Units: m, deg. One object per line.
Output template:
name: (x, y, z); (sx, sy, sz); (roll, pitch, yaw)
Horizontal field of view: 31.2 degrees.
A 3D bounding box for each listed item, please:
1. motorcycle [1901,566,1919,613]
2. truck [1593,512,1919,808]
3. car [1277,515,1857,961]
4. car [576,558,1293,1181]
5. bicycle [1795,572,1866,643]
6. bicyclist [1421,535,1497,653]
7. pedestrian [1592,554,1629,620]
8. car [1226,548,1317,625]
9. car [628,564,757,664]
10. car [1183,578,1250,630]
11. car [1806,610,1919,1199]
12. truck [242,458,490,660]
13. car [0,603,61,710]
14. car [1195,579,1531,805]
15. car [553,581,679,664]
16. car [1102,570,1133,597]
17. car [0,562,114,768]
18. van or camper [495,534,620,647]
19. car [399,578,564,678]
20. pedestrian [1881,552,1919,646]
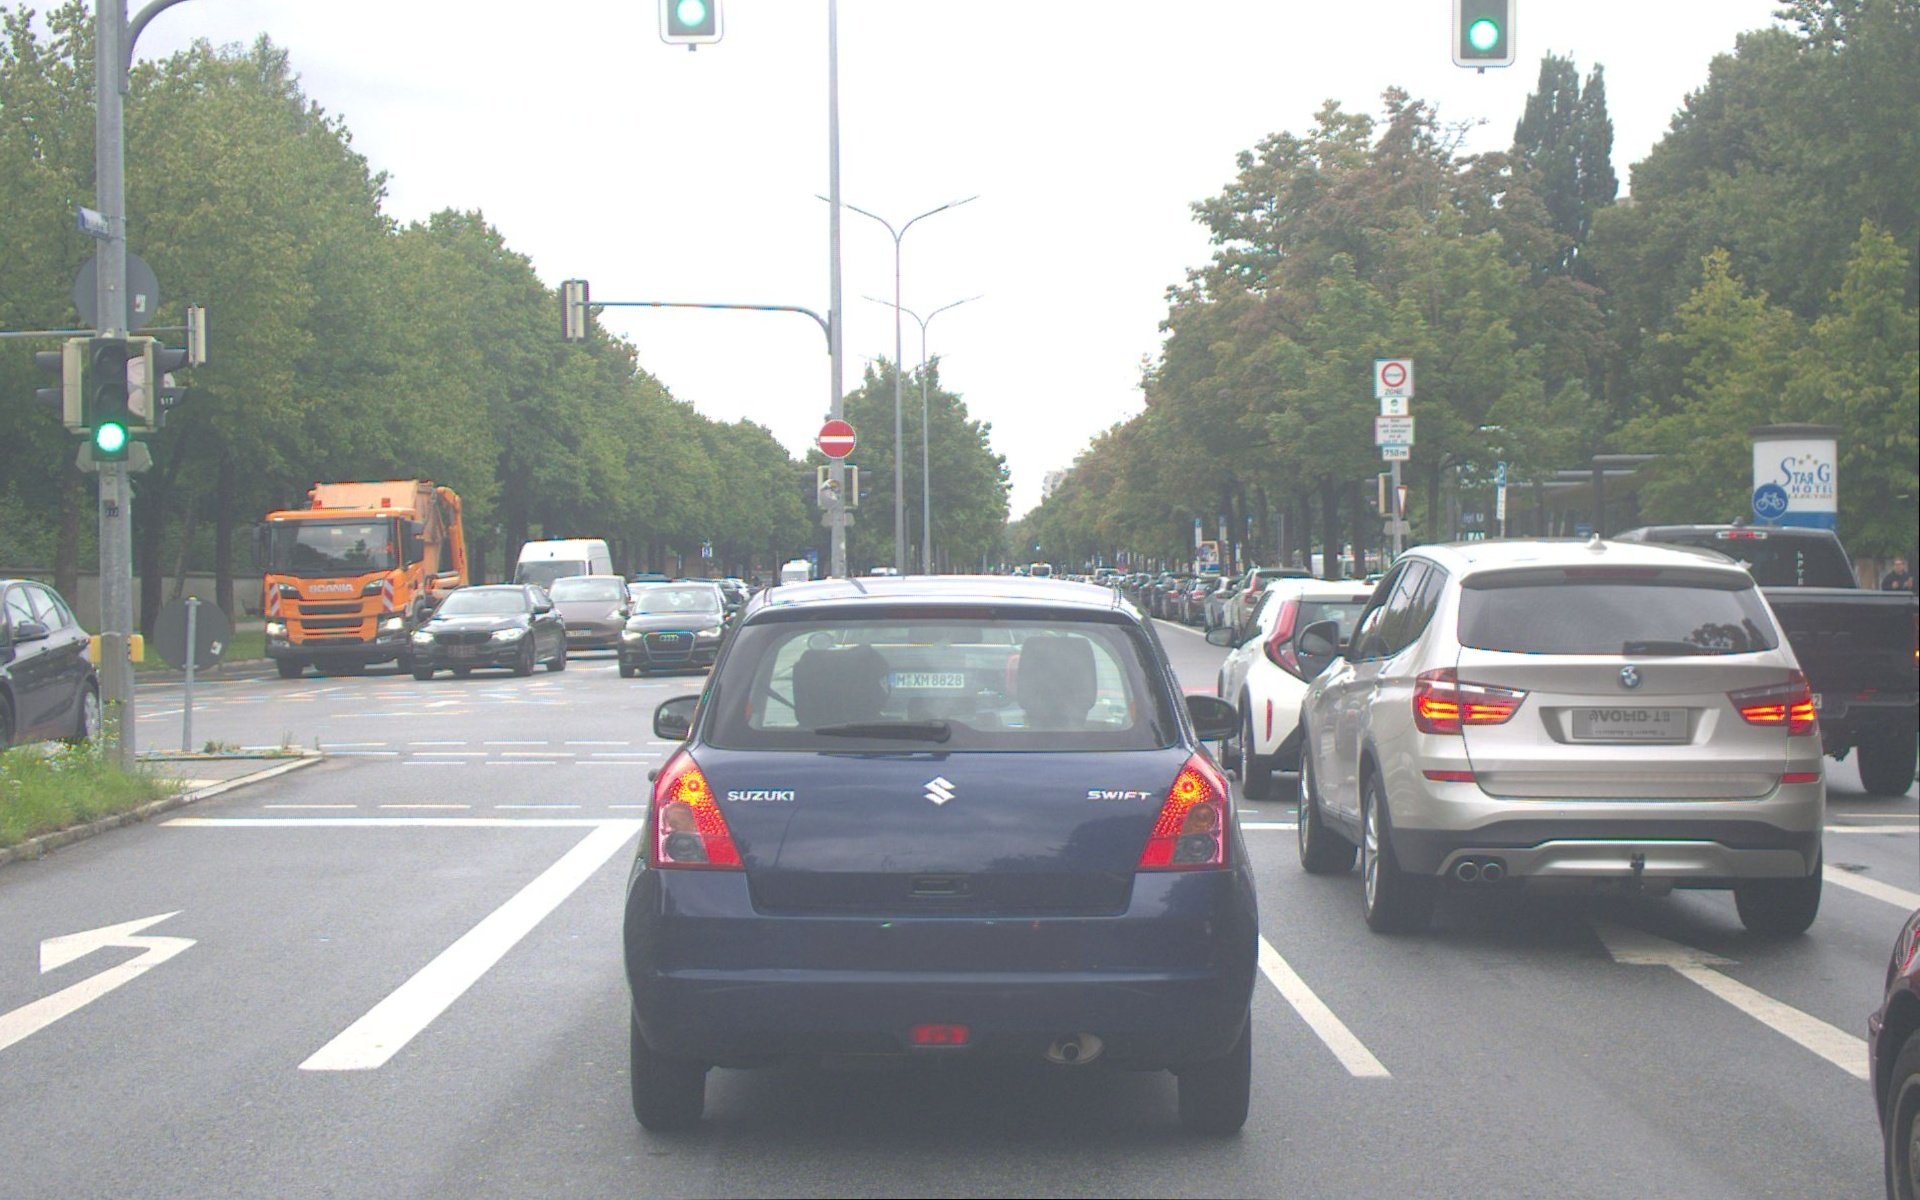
motorcycle: (22.402, -0.248, 79.297); (0.658, 1.058, 1.809); (0, 1, 39)
truck: (6.117, 0.391, 26.310); (2.099, 2.007, 5.811); (-1, 0, 7)
car: (2.571, 0.526, 15.544); (1.850, 1.737, 4.098); (0, 0, -1)
car: (-0.085, 0.660, 10.626); (1.789, 1.550, 4.000); (0, 0, -1)
bicycle: (15.287, 0.120, 60.415); (0.861, 1.194, 1.999); (-2, 0, 5)
bicyclist: (7.507, -0.091, 51.720); (0.825, 1.758, 0.746); (-1, 0, -34)
pedestrian: (15.126, -0.305, 79.979); (0.578, 1.508, 0.694); (0, 0, -17)
car: (7.196, -0.346, 79.801); (1.747, 1.718, 4.906); (0, 1, 1)
car: (-4.115, 0.194, 53.281); (1.639, 1.482, 3.781); (-1, 0, 1)
car: (7.565, 0.097, 101.803); (1.717, 1.503, 4.223); (0, 0, 1)
car: (2.751, 0.758, 5.939); (1.622, 1.449, 3.950); (0, 0, 0)
truck: (-10.395, -0.694, 60.879); (2.781, 3.345, 7.265); (0, 0, 3)
car: (-14.842, 0.870, 47.581); (1.930, 1.457, 4.356); (-2, 1, 36)
car: (2.754, 0.585, 24.350); (1.850, 1.442, 4.098); (0, 0, -1)
car: (-6.644, 0.408, 66.833); (1.862, 1.536, 4.749); (-1, 0, 1)
car: (9.081, -0.956, 198.265); (1.684, 1.520, 4.455); (1, 0, 2)
car: (-8.178, 0.485, 27.793); (1.698, 1.564, 4.292); (-1, 0, -1)
van or camper: (-10.098, -0.266, 86.741); (2.178, 2.638, 6.951); (-2, 0, 1)
car: (-7.652, 0.414, 55.365); (1.926, 1.457, 4.898); (-2, 0, 0)
pedestrian: (15.468, -0.016, 56.244); (0.691, 1.533, 0.737); (0, 0, 20)
